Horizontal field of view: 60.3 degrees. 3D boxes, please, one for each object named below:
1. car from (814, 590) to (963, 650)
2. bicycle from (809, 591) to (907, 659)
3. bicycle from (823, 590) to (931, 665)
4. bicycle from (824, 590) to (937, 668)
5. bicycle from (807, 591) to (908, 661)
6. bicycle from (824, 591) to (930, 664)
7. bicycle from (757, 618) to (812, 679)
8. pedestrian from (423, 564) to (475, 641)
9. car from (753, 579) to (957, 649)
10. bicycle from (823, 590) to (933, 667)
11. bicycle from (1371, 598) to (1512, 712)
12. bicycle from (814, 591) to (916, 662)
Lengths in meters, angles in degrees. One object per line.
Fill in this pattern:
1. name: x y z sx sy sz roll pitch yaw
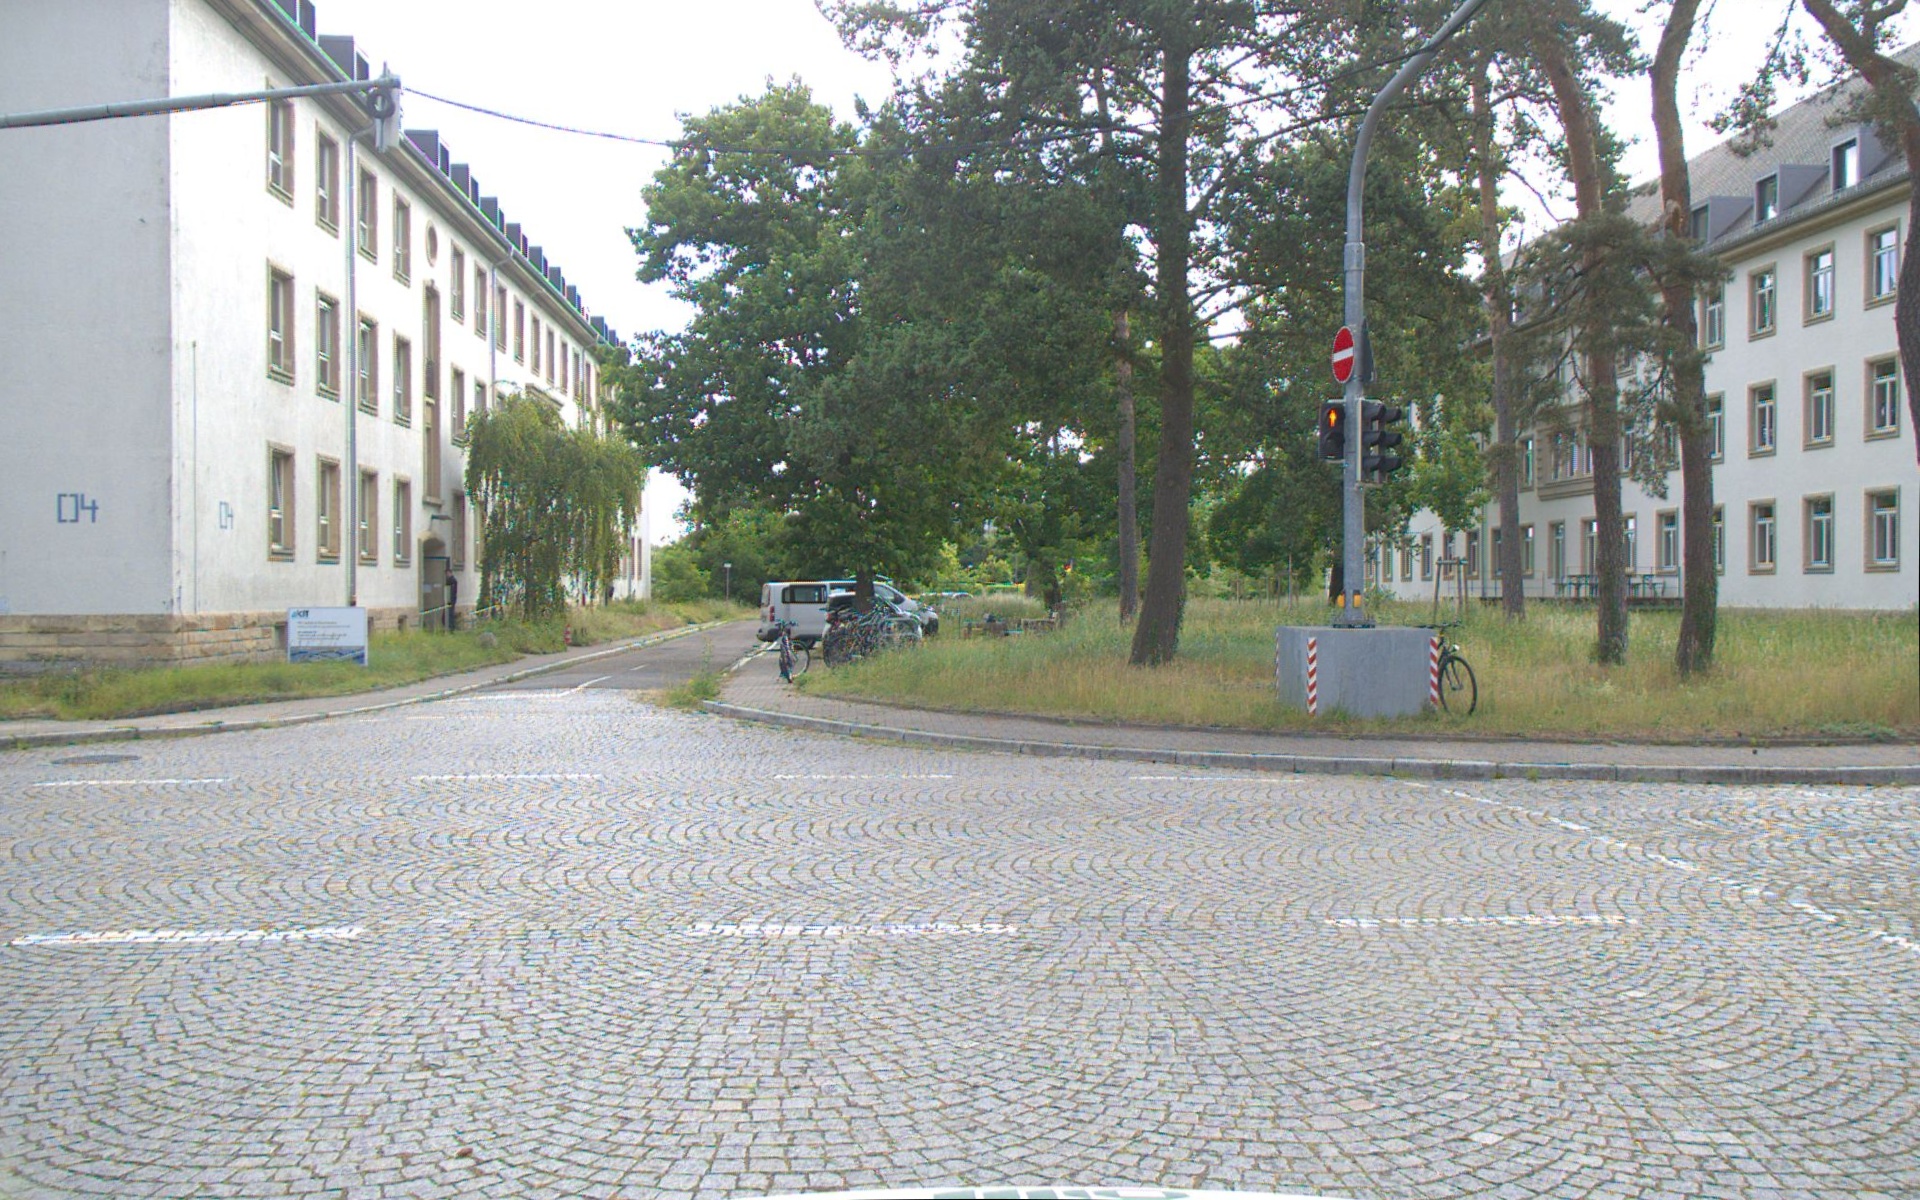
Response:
1. car: -1.963 0.527 44.681 3.859 1.571 1.996 0 0 -9
2. bicycle: -2.123 0.518 34.510 2.028 1.402 0.619 0 0 -3
3. bicycle: -1.575 0.522 31.461 2.028 1.402 0.619 0 0 -3
4. bicycle: -1.444 0.521 30.173 2.028 1.402 0.619 0 0 -3
5. bicycle: -2.088 0.516 33.764 2.028 1.402 0.619 0 0 -3
6. bicycle: -1.619 0.524 32.256 2.028 1.402 0.619 0 0 -3
7. bicycle: -2.987 0.812 28.269 0.605 0.980 2.077 0 0 3
8. pedestrian: -13.830 0.059 44.819 1.064 2.049 1.022 0 0 1
9. car: -3.056 0.365 47.982 5.600 1.944 2.220 0 0 -16
10. bicycle: -1.531 0.521 30.838 2.028 1.402 0.619 0 0 -3
11. bicycle: 5.301 0.577 18.339 0.891 1.197 1.872 0 0 -5
12. bicycle: -1.892 0.518 33.038 2.028 1.402 0.619 0 0 -3
